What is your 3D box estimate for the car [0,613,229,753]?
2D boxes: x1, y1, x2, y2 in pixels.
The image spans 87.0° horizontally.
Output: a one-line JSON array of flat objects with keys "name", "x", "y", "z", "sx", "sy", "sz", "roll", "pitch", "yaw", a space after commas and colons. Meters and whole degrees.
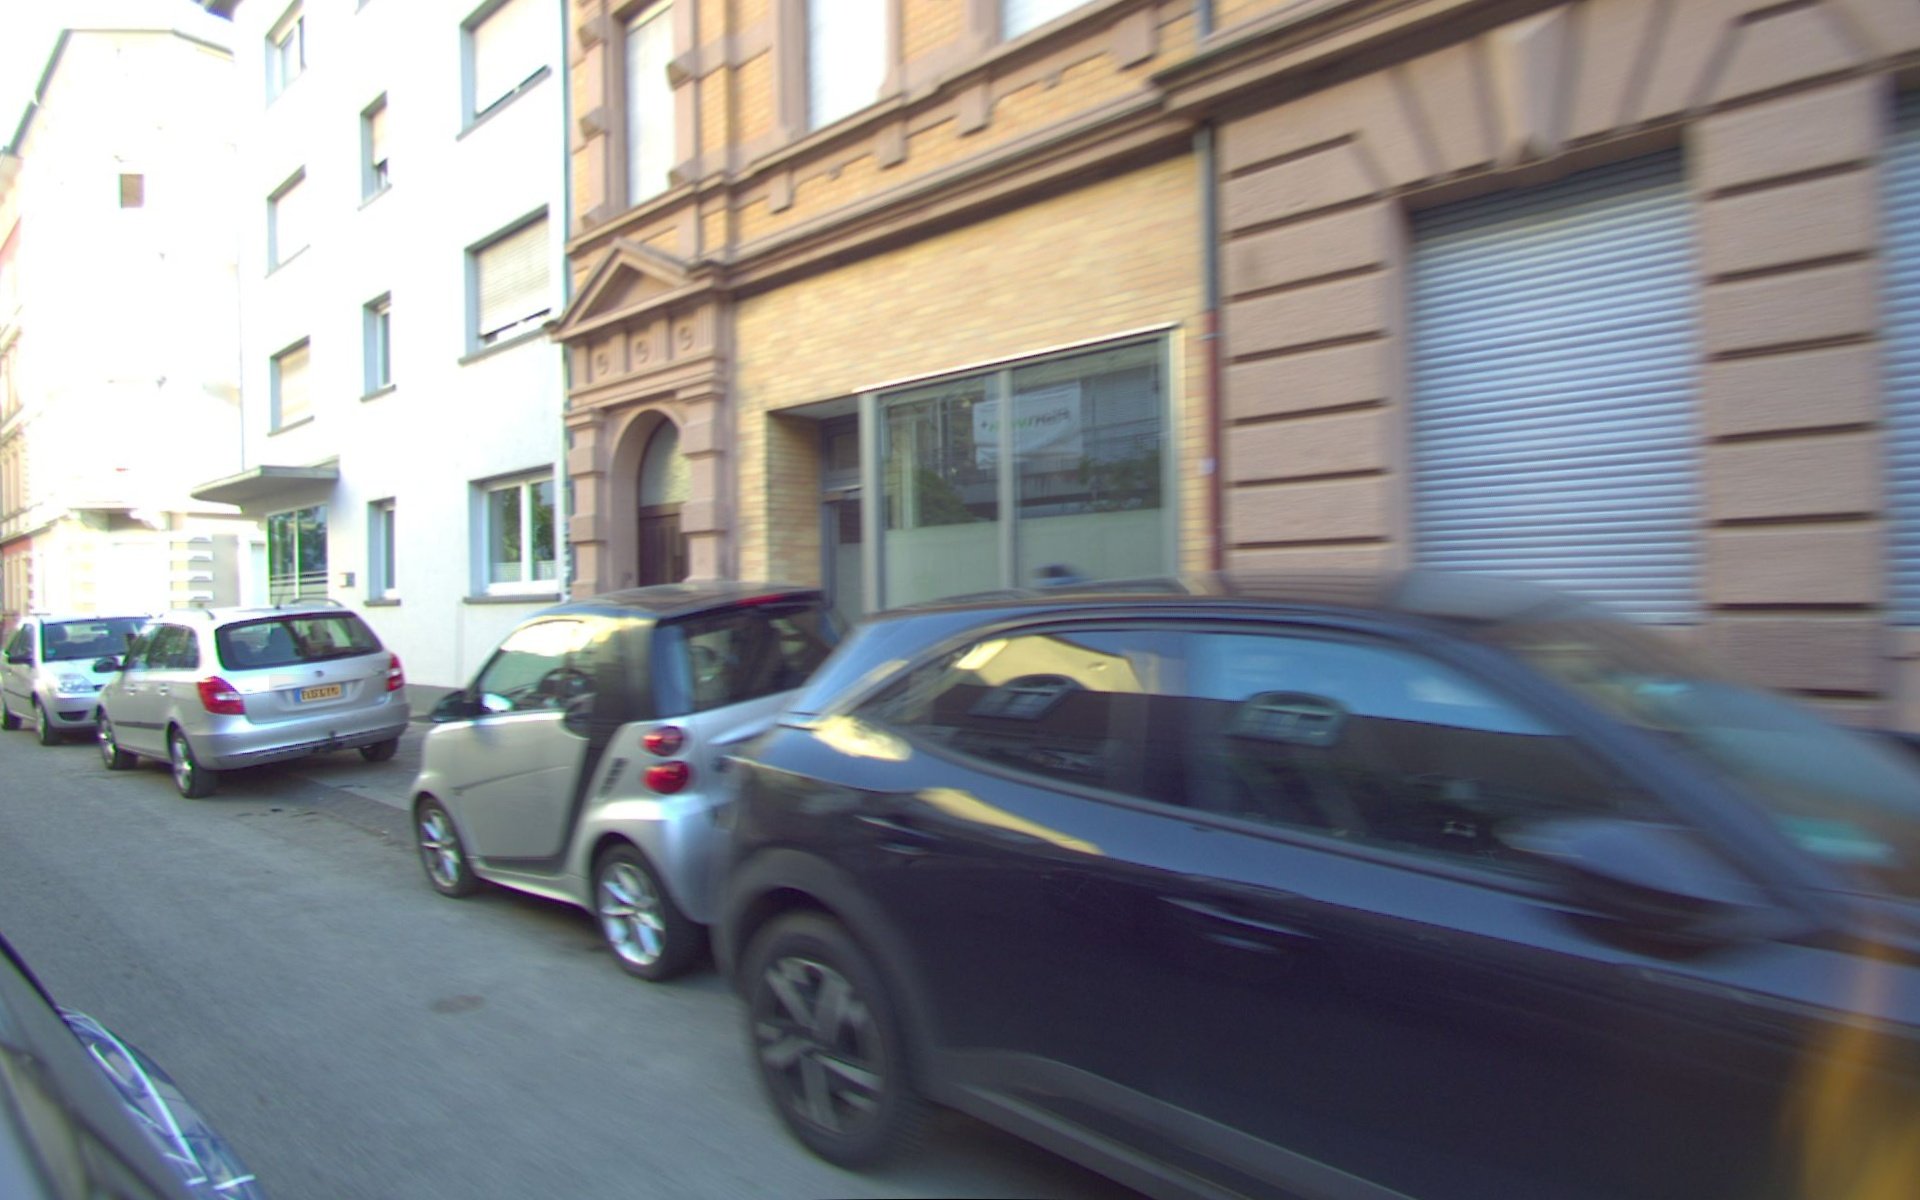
[{"name": "car", "x": -10.521, "y": 0.912, "z": 12.445, "sx": 3.551, "sy": 1.441, "sz": 1.616, "roll": -1, "pitch": 0, "yaw": 39}]

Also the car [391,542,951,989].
[{"name": "car", "x": -1.547, "y": 0.613, "z": 5.066, "sx": 2.791, "sy": 1.600, "sz": 1.382, "roll": -1, "pitch": -1, "yaw": 40}]

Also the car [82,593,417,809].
[{"name": "car", "x": -6.534, "y": 0.766, "z": 9.186, "sx": 3.594, "sy": 1.519, "sz": 1.540, "roll": -1, "pitch": 2, "yaw": 40}]

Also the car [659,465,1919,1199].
[{"name": "car", "x": 1.210, "y": 0.635, "z": 2.352, "sx": 4.011, "sy": 1.611, "sz": 1.723, "roll": -1, "pitch": 0, "yaw": 40}]

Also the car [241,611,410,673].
[{"name": "car", "x": -17.288, "y": 1.094, "z": 27.722, "sx": 1.683, "sy": 1.490, "sz": 3.548, "roll": -1, "pitch": 0, "yaw": 35}]
